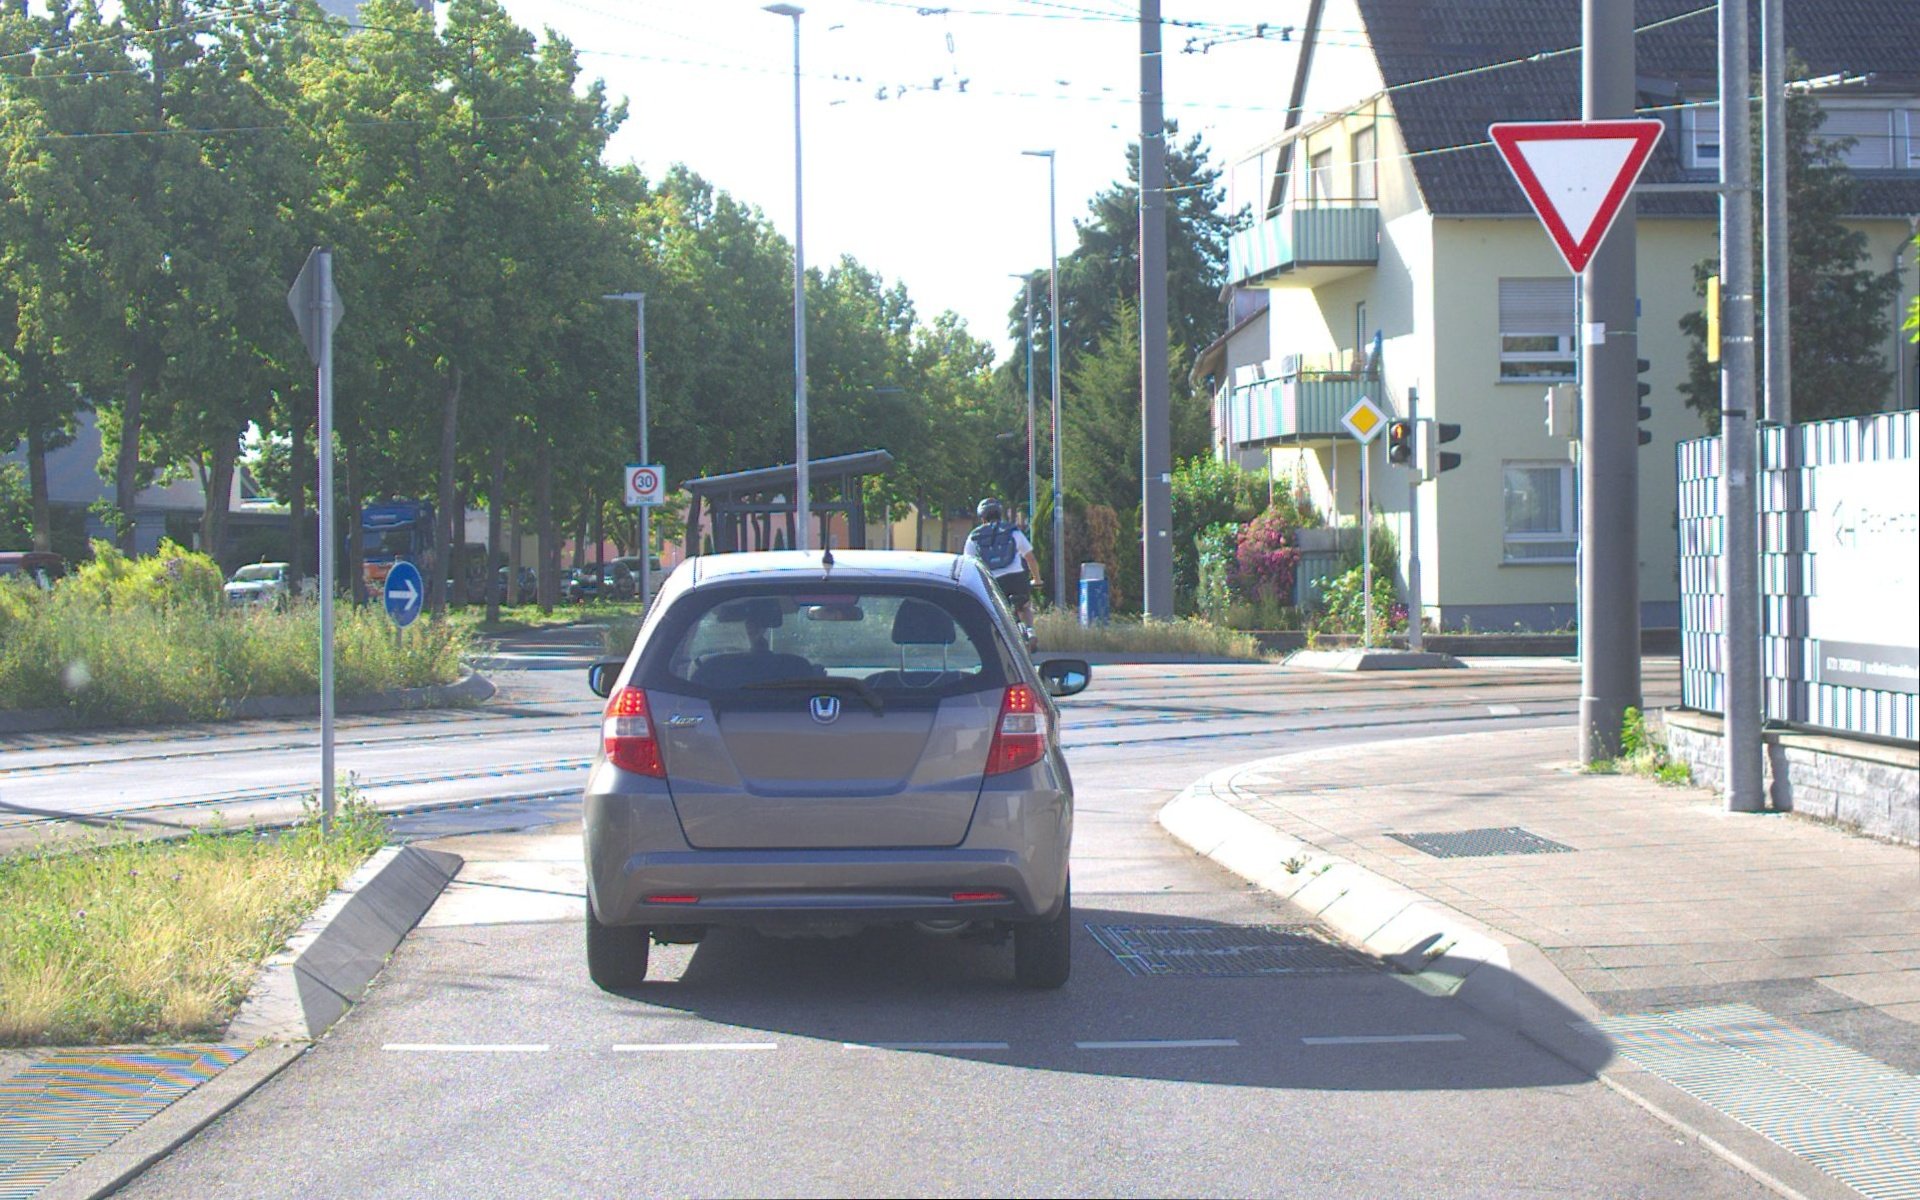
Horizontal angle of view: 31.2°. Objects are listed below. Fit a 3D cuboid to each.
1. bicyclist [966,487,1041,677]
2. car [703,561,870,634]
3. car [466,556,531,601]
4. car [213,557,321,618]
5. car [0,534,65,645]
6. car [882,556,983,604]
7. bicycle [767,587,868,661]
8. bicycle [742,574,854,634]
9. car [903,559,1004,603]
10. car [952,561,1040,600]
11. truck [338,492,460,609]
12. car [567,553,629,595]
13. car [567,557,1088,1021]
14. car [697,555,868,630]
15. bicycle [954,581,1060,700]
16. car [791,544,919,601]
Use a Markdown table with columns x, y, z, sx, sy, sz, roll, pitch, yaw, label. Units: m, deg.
| x | y | z | sx | sy | sz | roll | pitch | yaw | label |
| --- | --- | --- | --- | --- | --- | --- | --- | --- | --- |
| 0.395 | -0.158 | 31.475 | 0.603 | 1.708 | 0.544 | -1 | -1 | -5 | bicyclist |
| -3.760 | -0.063 | 74.702 | 3.516 | 1.528 | 1.577 | 1 | 0 | 0 | car |
| -17.910 | -0.858 | 133.584 | 1.993 | 1.694 | 4.218 | 1 | 1 | -1 | car |
| -20.938 | -0.395 | 104.062 | 1.994 | 1.767 | 5.059 | 1 | 1 | 3 | car |
| -18.496 | -0.127 | 62.402 | 1.995 | 1.975 | 5.235 | -2 | 1 | 14 | car |
| -0.916 | -0.672 | 115.256 | 3.359 | 1.528 | 1.523 | 1 | 0 | 0 | car |
| -2.400 | 0.393 | 57.644 | 1.665 | 1.203 | 0.689 | 1 | 0 | -4 | bicycle |
| -2.901 | 0.070 | 61.323 | 1.973 | 1.024 | 0.696 | 1 | 0 | -4 | bicycle |
| -0.224 | -0.665 | 119.983 | 3.479 | 1.488 | 1.552 | 1 | 0 | 0 | car |
| 1.461 | -0.808 | 139.381 | 3.516 | 1.528 | 1.577 | 1 | 0 | 0 | car |
| -19.795 | -1.777 | 121.729 | 3.069 | 3.979 | 8.009 | 1 | 1 | -1 | truck |
| -14.135 | -1.023 | 134.391 | 1.831 | 1.575 | 4.440 | 1 | 1 | 2 | car |
| -0.451 | 0.588 | 13.108 | 1.687 | 1.486 | 3.914 | 0 | 1 | -1 | car |
| -3.754 | -0.164 | 72.922 | 3.516 | 1.528 | 1.577 | 1 | 0 | 0 | car |
| 0.415 | 0.352 | 31.225 | 0.766 | 1.033 | 1.535 | 0 | 1 | -7 | bicycle |
| -2.936 | -0.772 | 96.839 | 3.516 | 1.528 | 1.577 | 1 | 0 | 0 | car |
